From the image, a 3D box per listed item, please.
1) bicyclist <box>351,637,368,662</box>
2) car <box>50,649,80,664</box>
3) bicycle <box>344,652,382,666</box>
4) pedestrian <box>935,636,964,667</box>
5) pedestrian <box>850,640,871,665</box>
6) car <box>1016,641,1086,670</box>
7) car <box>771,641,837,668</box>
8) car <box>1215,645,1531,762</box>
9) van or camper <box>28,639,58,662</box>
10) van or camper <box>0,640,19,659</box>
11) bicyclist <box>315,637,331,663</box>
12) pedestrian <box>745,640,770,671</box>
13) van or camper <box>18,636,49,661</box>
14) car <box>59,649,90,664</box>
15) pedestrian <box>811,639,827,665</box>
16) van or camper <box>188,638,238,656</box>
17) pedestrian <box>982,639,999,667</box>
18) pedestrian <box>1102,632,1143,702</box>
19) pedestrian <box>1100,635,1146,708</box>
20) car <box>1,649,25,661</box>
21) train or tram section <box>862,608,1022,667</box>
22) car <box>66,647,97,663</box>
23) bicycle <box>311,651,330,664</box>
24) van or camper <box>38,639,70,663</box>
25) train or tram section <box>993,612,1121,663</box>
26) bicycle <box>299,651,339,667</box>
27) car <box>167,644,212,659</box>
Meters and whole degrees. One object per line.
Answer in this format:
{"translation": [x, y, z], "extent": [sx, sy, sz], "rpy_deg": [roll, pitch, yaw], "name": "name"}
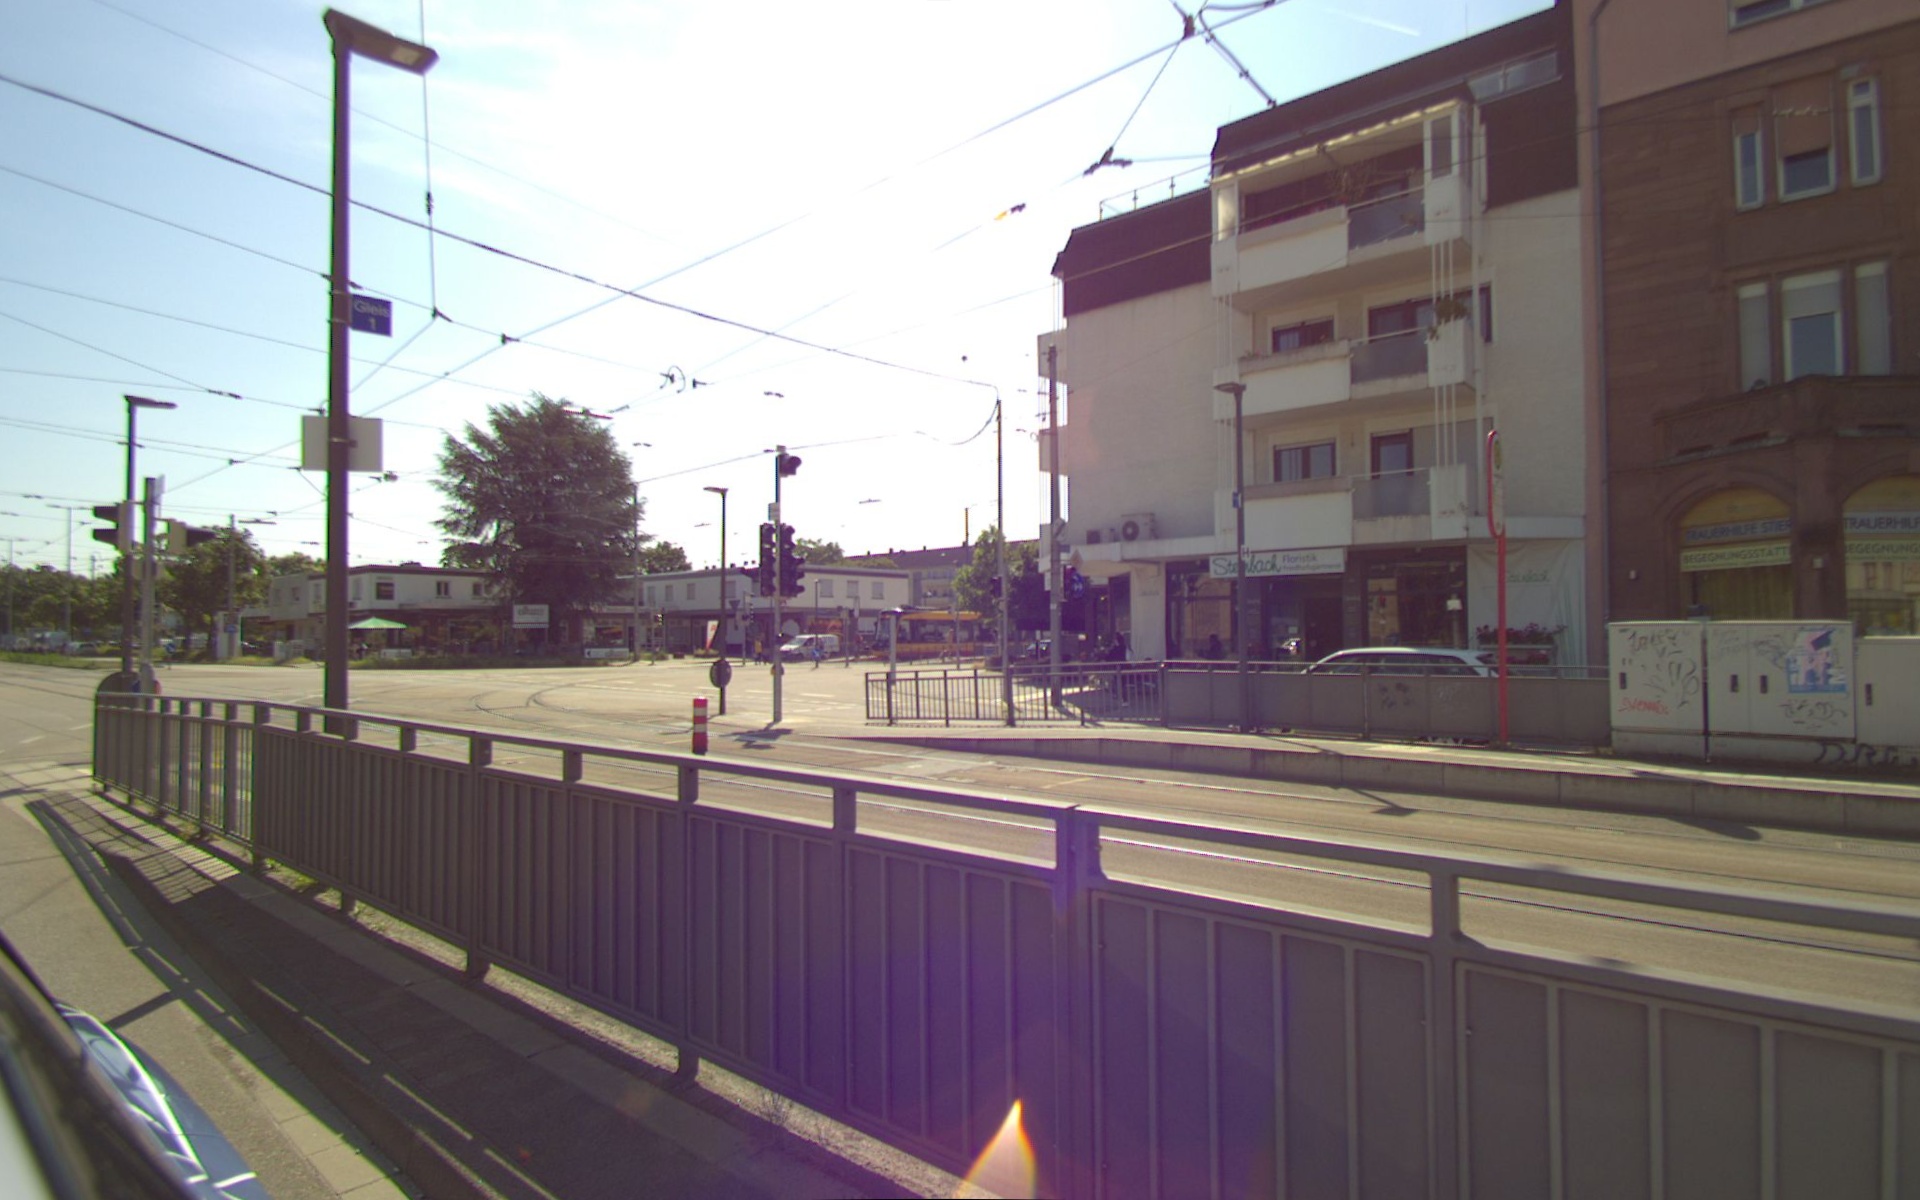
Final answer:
{"translation": [-38.127, 3.124, 64.252], "extent": [0.753, 1.587, 0.633], "rpy_deg": [0, -3, -14], "name": "bicyclist"}
{"translation": [-97.800, 6.167, 110.523], "extent": [4.229, 1.506, 1.868], "rpy_deg": [-3, -3, 41], "name": "car"}
{"translation": [-37.910, 3.736, 64.240], "extent": [2.107, 0.897, 0.575], "rpy_deg": [0, -3, 2], "name": "bicycle"}
{"translation": [-0.656, 3.148, 61.782], "extent": [1.123, 1.850, 1.418], "rpy_deg": [-3, -4, 43], "name": "pedestrian"}
{"translation": [-6.579, 3.470, 67.000], "extent": [0.813, 1.693, 1.079], "rpy_deg": [-3, -4, 41], "name": "pedestrian"}
{"translation": [5.056, 3.023, 55.817], "extent": [1.827, 1.512, 4.130], "rpy_deg": [-3, -3, 40], "name": "car"}
{"translation": [-11.007, 3.832, 71.870], "extent": [1.776, 1.876, 4.596], "rpy_deg": [-2, -3, 41], "name": "car"}
{"translation": [5.921, 1.405, 14.766], "extent": [3.959, 1.442, 1.609], "rpy_deg": [-2, -2, 39], "name": "car"}
{"translation": [-107.333, 5.894, 118.451], "extent": [4.836, 2.652, 2.014], "rpy_deg": [-3, -3, 41], "name": "van or camper"}
{"translation": [-134.220, 6.972, 142.366], "extent": [5.449, 2.640, 2.086], "rpy_deg": [-2, -4, 41], "name": "van or camper"}
{"translation": [-40.084, 3.149, 63.653], "extent": [0.753, 1.570, 0.633], "rpy_deg": [3, -4, -34], "name": "bicyclist"}
{"translation": [-12.145, 3.333, 60.828], "extent": [0.896, 1.852, 1.185], "rpy_deg": [-3, -4, 41], "name": "pedestrian"}
{"translation": [-113.266, 5.938, 123.658], "extent": [5.278, 3.008, 2.101], "rpy_deg": [-3, -3, 41], "name": "van or camper"}
{"translation": [-93.812, 5.959, 107.200], "extent": [4.282, 1.572, 1.868], "rpy_deg": [-3, -3, 41], "name": "car"}
{"translation": [-8.955, 3.302, 64.471], "extent": [0.784, 1.639, 0.651], "rpy_deg": [-3, -4, 41], "name": "pedestrian"}
{"translation": [-117.619, 7.405, 159.371], "extent": [2.299, 2.751, 6.001], "rpy_deg": [-3, -4, 43], "name": "van or camper"}
{"translation": [1.940, 3.348, 64.184], "extent": [0.763, 1.773, 0.800], "rpy_deg": [-3, -4, 43], "name": "pedestrian"}
{"translation": [3.931, 1.614, 24.488], "extent": [0.732, 1.660, 0.671], "rpy_deg": [-3, -4, 40], "name": "pedestrian"}
{"translation": [3.733, 1.631, 23.248], "extent": [0.867, 1.660, 0.681], "rpy_deg": [0, -3, -5], "name": "pedestrian"}
{"translation": [-129.055, 7.469, 137.902], "extent": [4.229, 1.572, 1.868], "rpy_deg": [-3, -3, 41], "name": "car"}
{"translation": [-0.905, 2.598, 69.832], "extent": [2.767, 3.686, 13.721], "rpy_deg": [-3, -3, 40], "name": "train or tram section"}
{"translation": [-89.807, 5.583, 103.433], "extent": [4.284, 1.506, 1.868], "rpy_deg": [-3, -1, 42], "name": "car"}
{"translation": [-50.215, 4.498, 79.417], "extent": [1.910, 0.991, 0.750], "rpy_deg": [-3, -4, 41], "name": "bicycle"}
{"translation": [-101.949, 5.703, 113.901], "extent": [4.836, 2.652, 2.014], "rpy_deg": [-3, -3, 41], "name": "van or camper"}
{"translation": [7.966, 3.009, 80.312], "extent": [2.767, 3.686, 13.721], "rpy_deg": [-3, -3, 40], "name": "train or tram section"}
{"translation": [-40.219, 3.691, 63.554], "extent": [2.100, 0.954, 0.537], "rpy_deg": [1, -3, -33], "name": "bicycle"}
{"translation": [-87.047, 5.819, 114.361], "extent": [1.949, 1.581, 3.702], "rpy_deg": [-2, -3, 39], "name": "car"}
